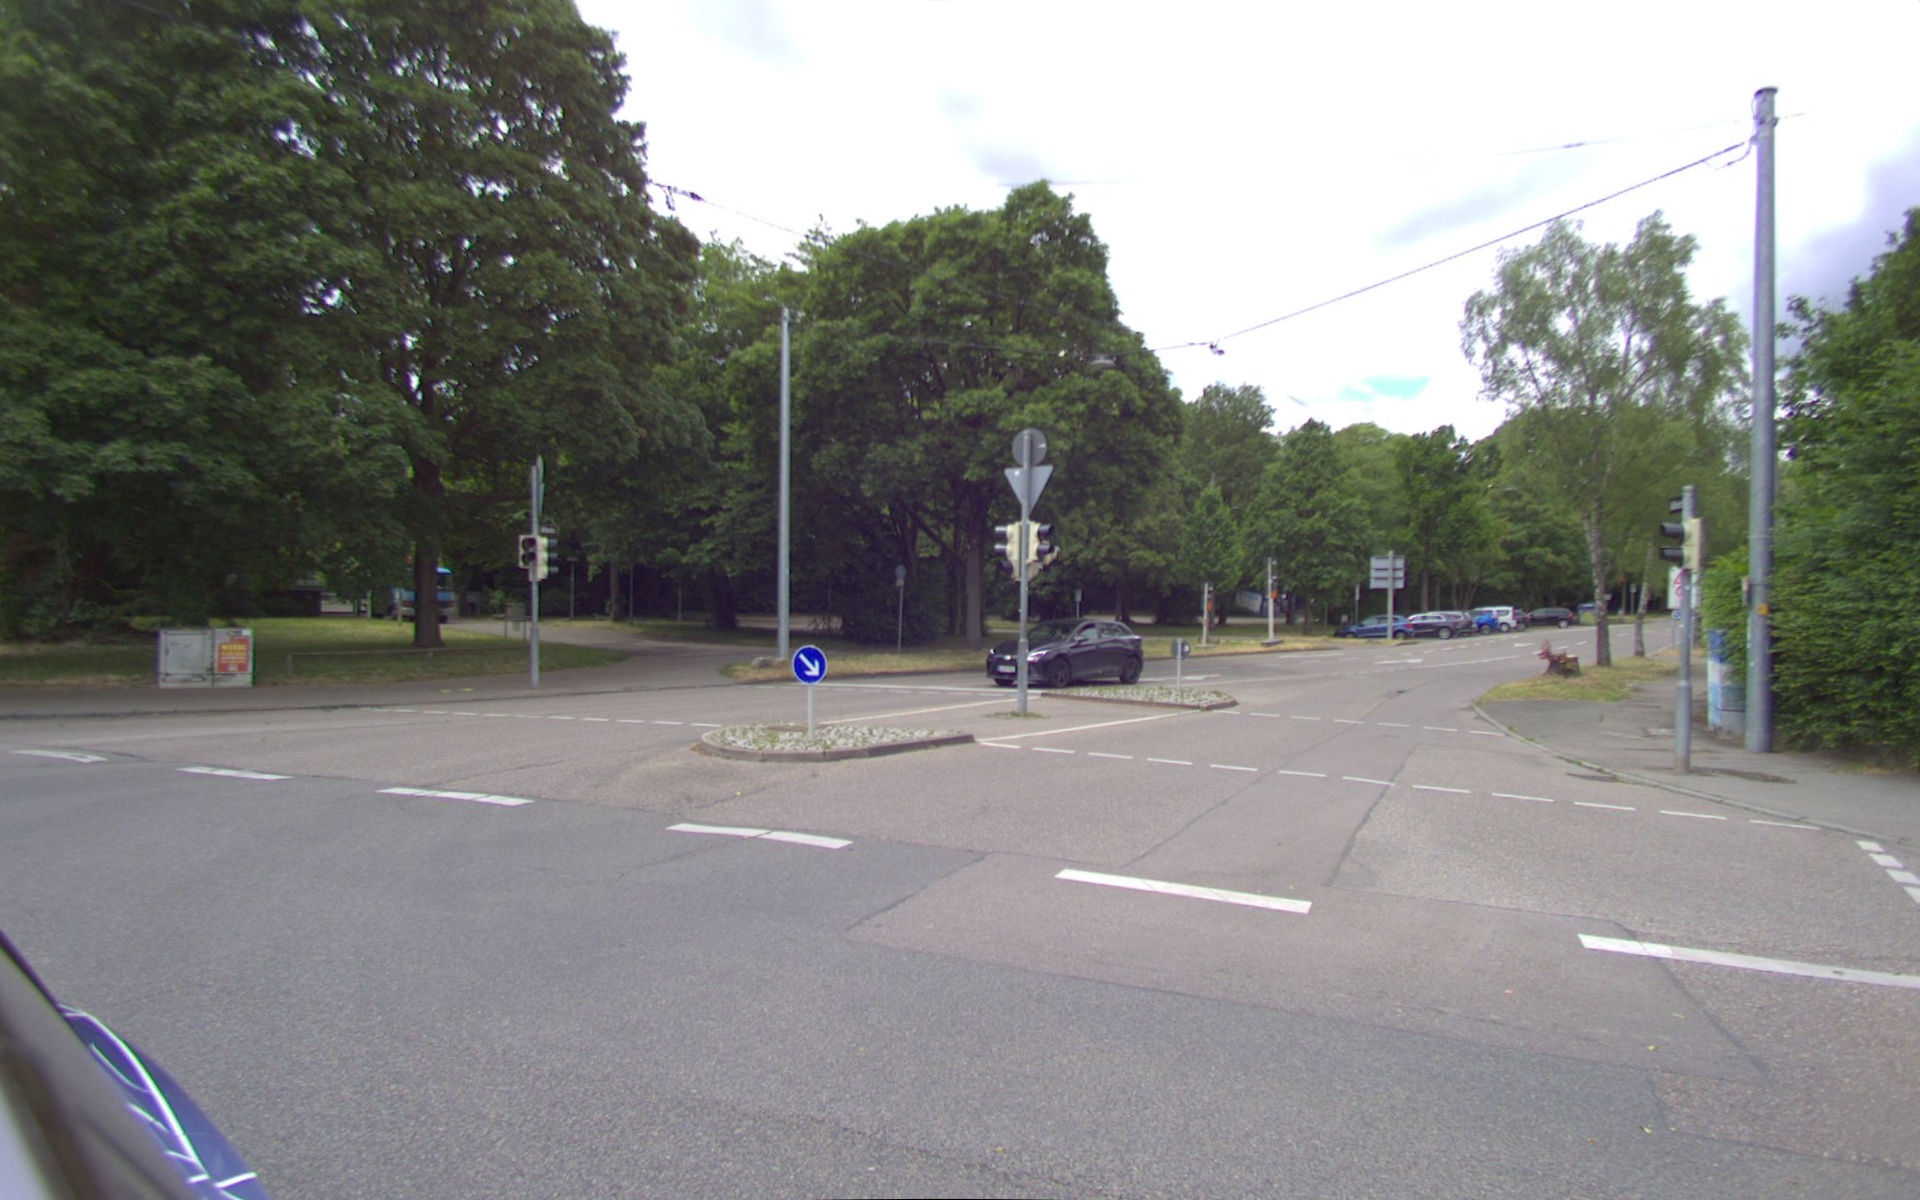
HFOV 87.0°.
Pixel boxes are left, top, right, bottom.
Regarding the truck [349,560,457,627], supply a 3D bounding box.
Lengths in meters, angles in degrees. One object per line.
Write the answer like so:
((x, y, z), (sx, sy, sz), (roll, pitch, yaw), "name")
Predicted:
((-25.974, -0.273, 46.995), (2.446, 2.869, 7.438), (1, -1, -45), "truck")

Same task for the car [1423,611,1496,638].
((30.780, 1.484, 62.413), (3.980, 1.497, 1.901), (1, 0, 27), "car")

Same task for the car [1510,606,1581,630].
((42.412, 1.291, 73.403), (4.402, 1.621, 1.979), (0, 0, 31), "car")

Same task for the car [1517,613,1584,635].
((46.813, 1.863, 80.276), (4.410, 1.621, 1.976), (0, 0, 36), "car")

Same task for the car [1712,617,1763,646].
((52.124, 2.074, 67.833), (4.352, 1.620, 1.978), (-2, 3, -43), "car")

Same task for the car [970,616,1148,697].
((2.304, 1.197, 22.944), (2.001, 1.630, 3.941), (0, 0, 45), "car")

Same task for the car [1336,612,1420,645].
((21.864, 1.468, 52.954), (3.976, 1.497, 1.903), (1, 1, 24), "car")

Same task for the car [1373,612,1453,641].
((25.345, 1.441, 56.641), (3.980, 1.497, 1.901), (1, 0, 27), "car")

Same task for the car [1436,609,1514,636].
((33.638, 1.445, 66.220), (4.389, 1.621, 1.985), (0, 0, 22), "car")
